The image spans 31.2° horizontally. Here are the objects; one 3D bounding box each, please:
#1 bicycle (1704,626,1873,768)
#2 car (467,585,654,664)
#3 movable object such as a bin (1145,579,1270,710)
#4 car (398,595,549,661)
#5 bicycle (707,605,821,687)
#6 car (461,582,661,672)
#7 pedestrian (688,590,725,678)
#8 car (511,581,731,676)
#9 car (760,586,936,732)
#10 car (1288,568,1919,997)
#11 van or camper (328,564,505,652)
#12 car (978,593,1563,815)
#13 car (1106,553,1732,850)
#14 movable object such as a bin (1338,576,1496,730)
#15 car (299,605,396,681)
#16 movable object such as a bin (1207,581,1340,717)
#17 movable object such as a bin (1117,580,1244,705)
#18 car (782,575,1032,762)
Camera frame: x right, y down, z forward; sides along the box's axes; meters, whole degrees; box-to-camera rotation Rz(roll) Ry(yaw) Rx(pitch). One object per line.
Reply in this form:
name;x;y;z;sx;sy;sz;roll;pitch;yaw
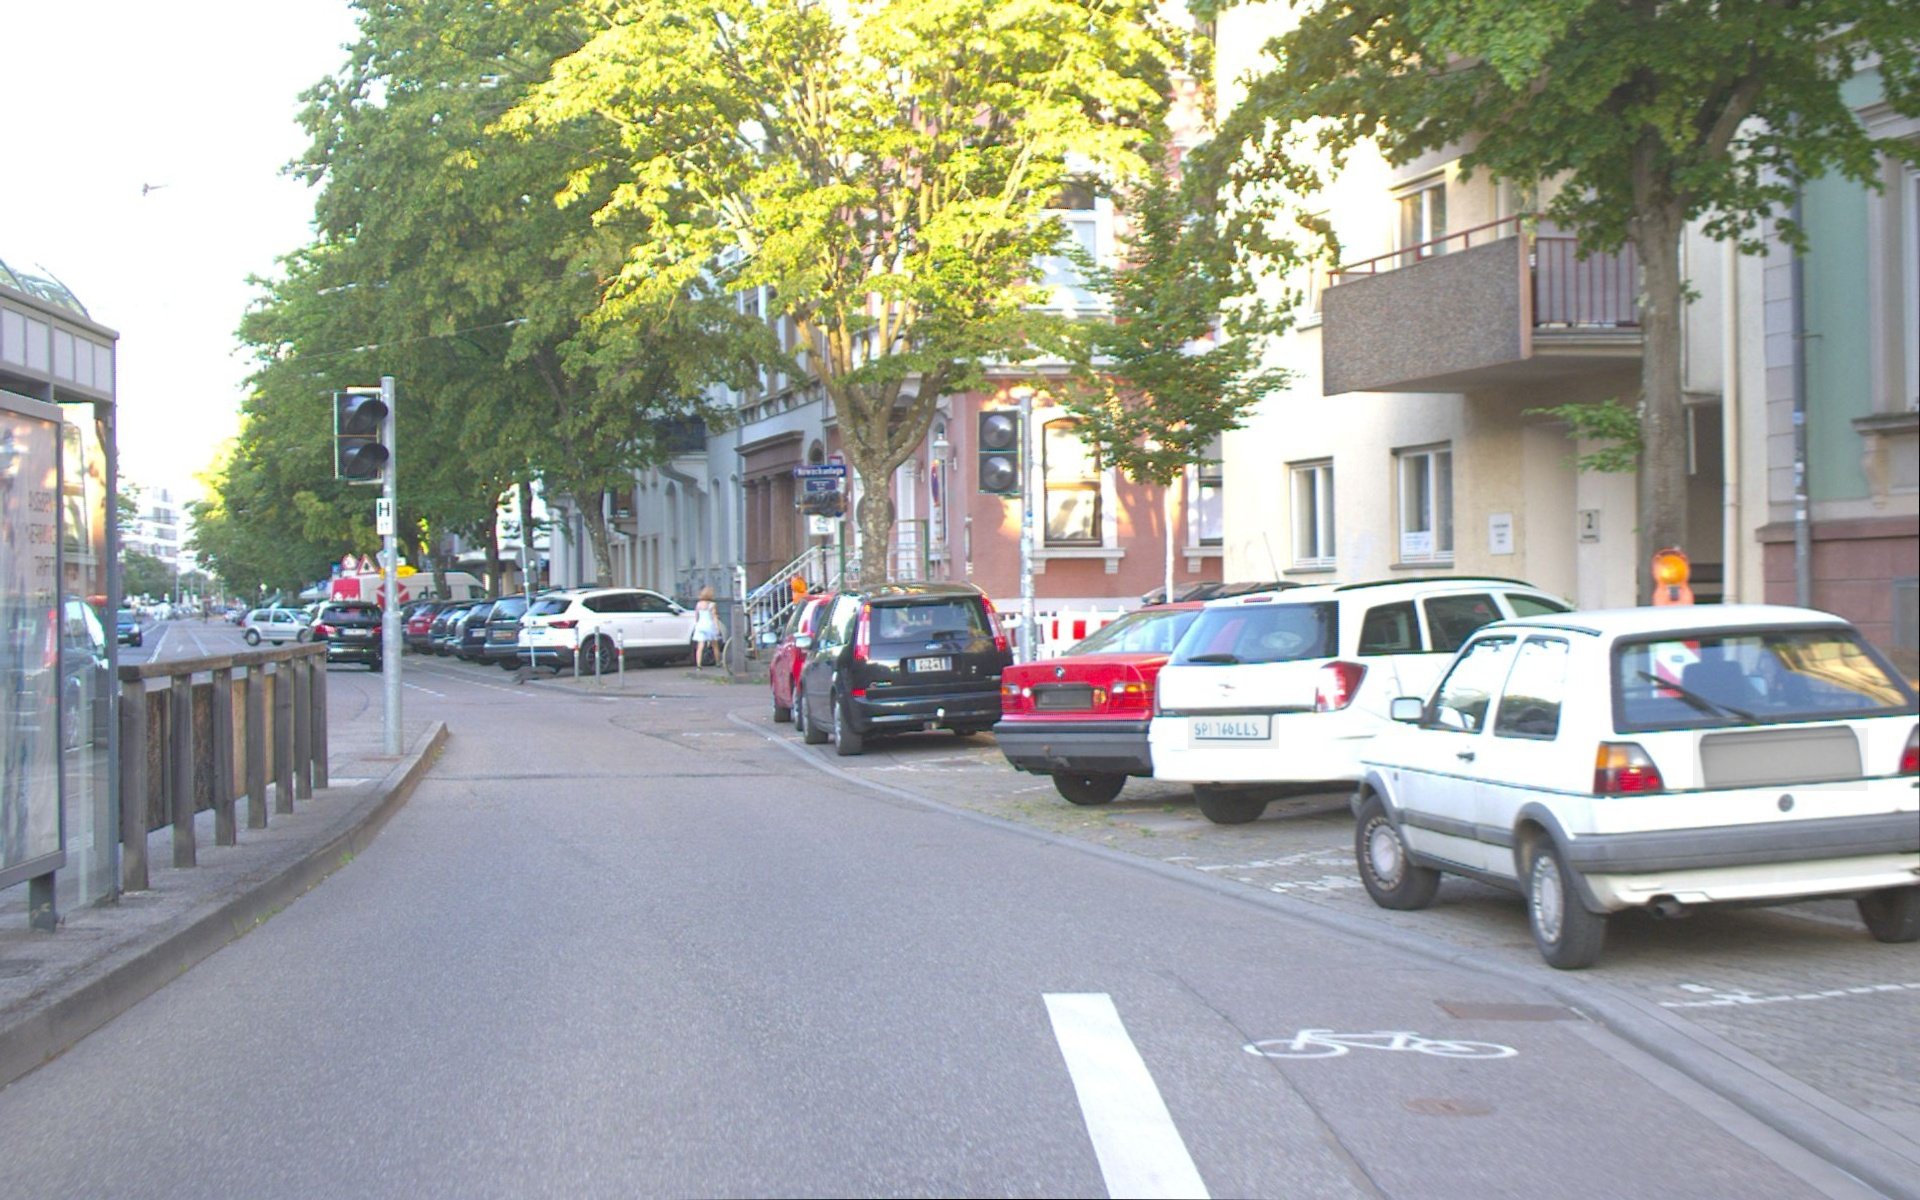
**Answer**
bicycle;6.497;0.743;27.031;0.650;1.071;1.556;0;0;-13
car;-9.282;0.564;80.069;3.945;1.598;1.839;-3;0;-44
movable object such as a bin;2.865;0.509;39.954;1.072;1.497;1.319;0;0;-15
car;-14.422;0.820;101.950;3.944;1.598;1.840;-5;1;-39
bicycle;-3.122;0.724;54.985;0.601;1.262;1.914;-1;0;43
car;-8.536;0.563;73.808;1.900;1.663;3.946;-3;0;41
pedestrian;-4.670;0.622;63.390;0.586;1.604;0.625;0;0;-12
car;-6.509;0.534;66.231;3.944;1.621;1.673;-4;2;-43
car;-1.330;0.650;39.524;1.564;1.531;3.694;-3;0;-8
car;2.858;0.699;15.255;1.679;1.547;4.001;-4;0;-10
van or camper;-17.919;0.243;113.511;2.085;2.522;5.536;-3;1;43
car;2.260;0.677;24.368;4.198;1.449;1.645;0;0;-40
car;3.012;0.582;21.994;4.198;1.719;1.721;0;0;-44
movable object such as a bin;4.558;0.517;34.396;1.113;1.497;1.482;0;0;-13
car;-13.734;0.946;76.961;1.881;1.615;4.001;2;-1;-13
movable object such as a bin;3.522;0.540;38.727;1.140;1.497;1.271;0;0;-13
movable object such as a bin;2.690;0.511;42.150;1.140;1.497;1.598;0;0;-13
car;-0.587;0.631;33.514;1.743;1.626;4.089;-3;0;-10
